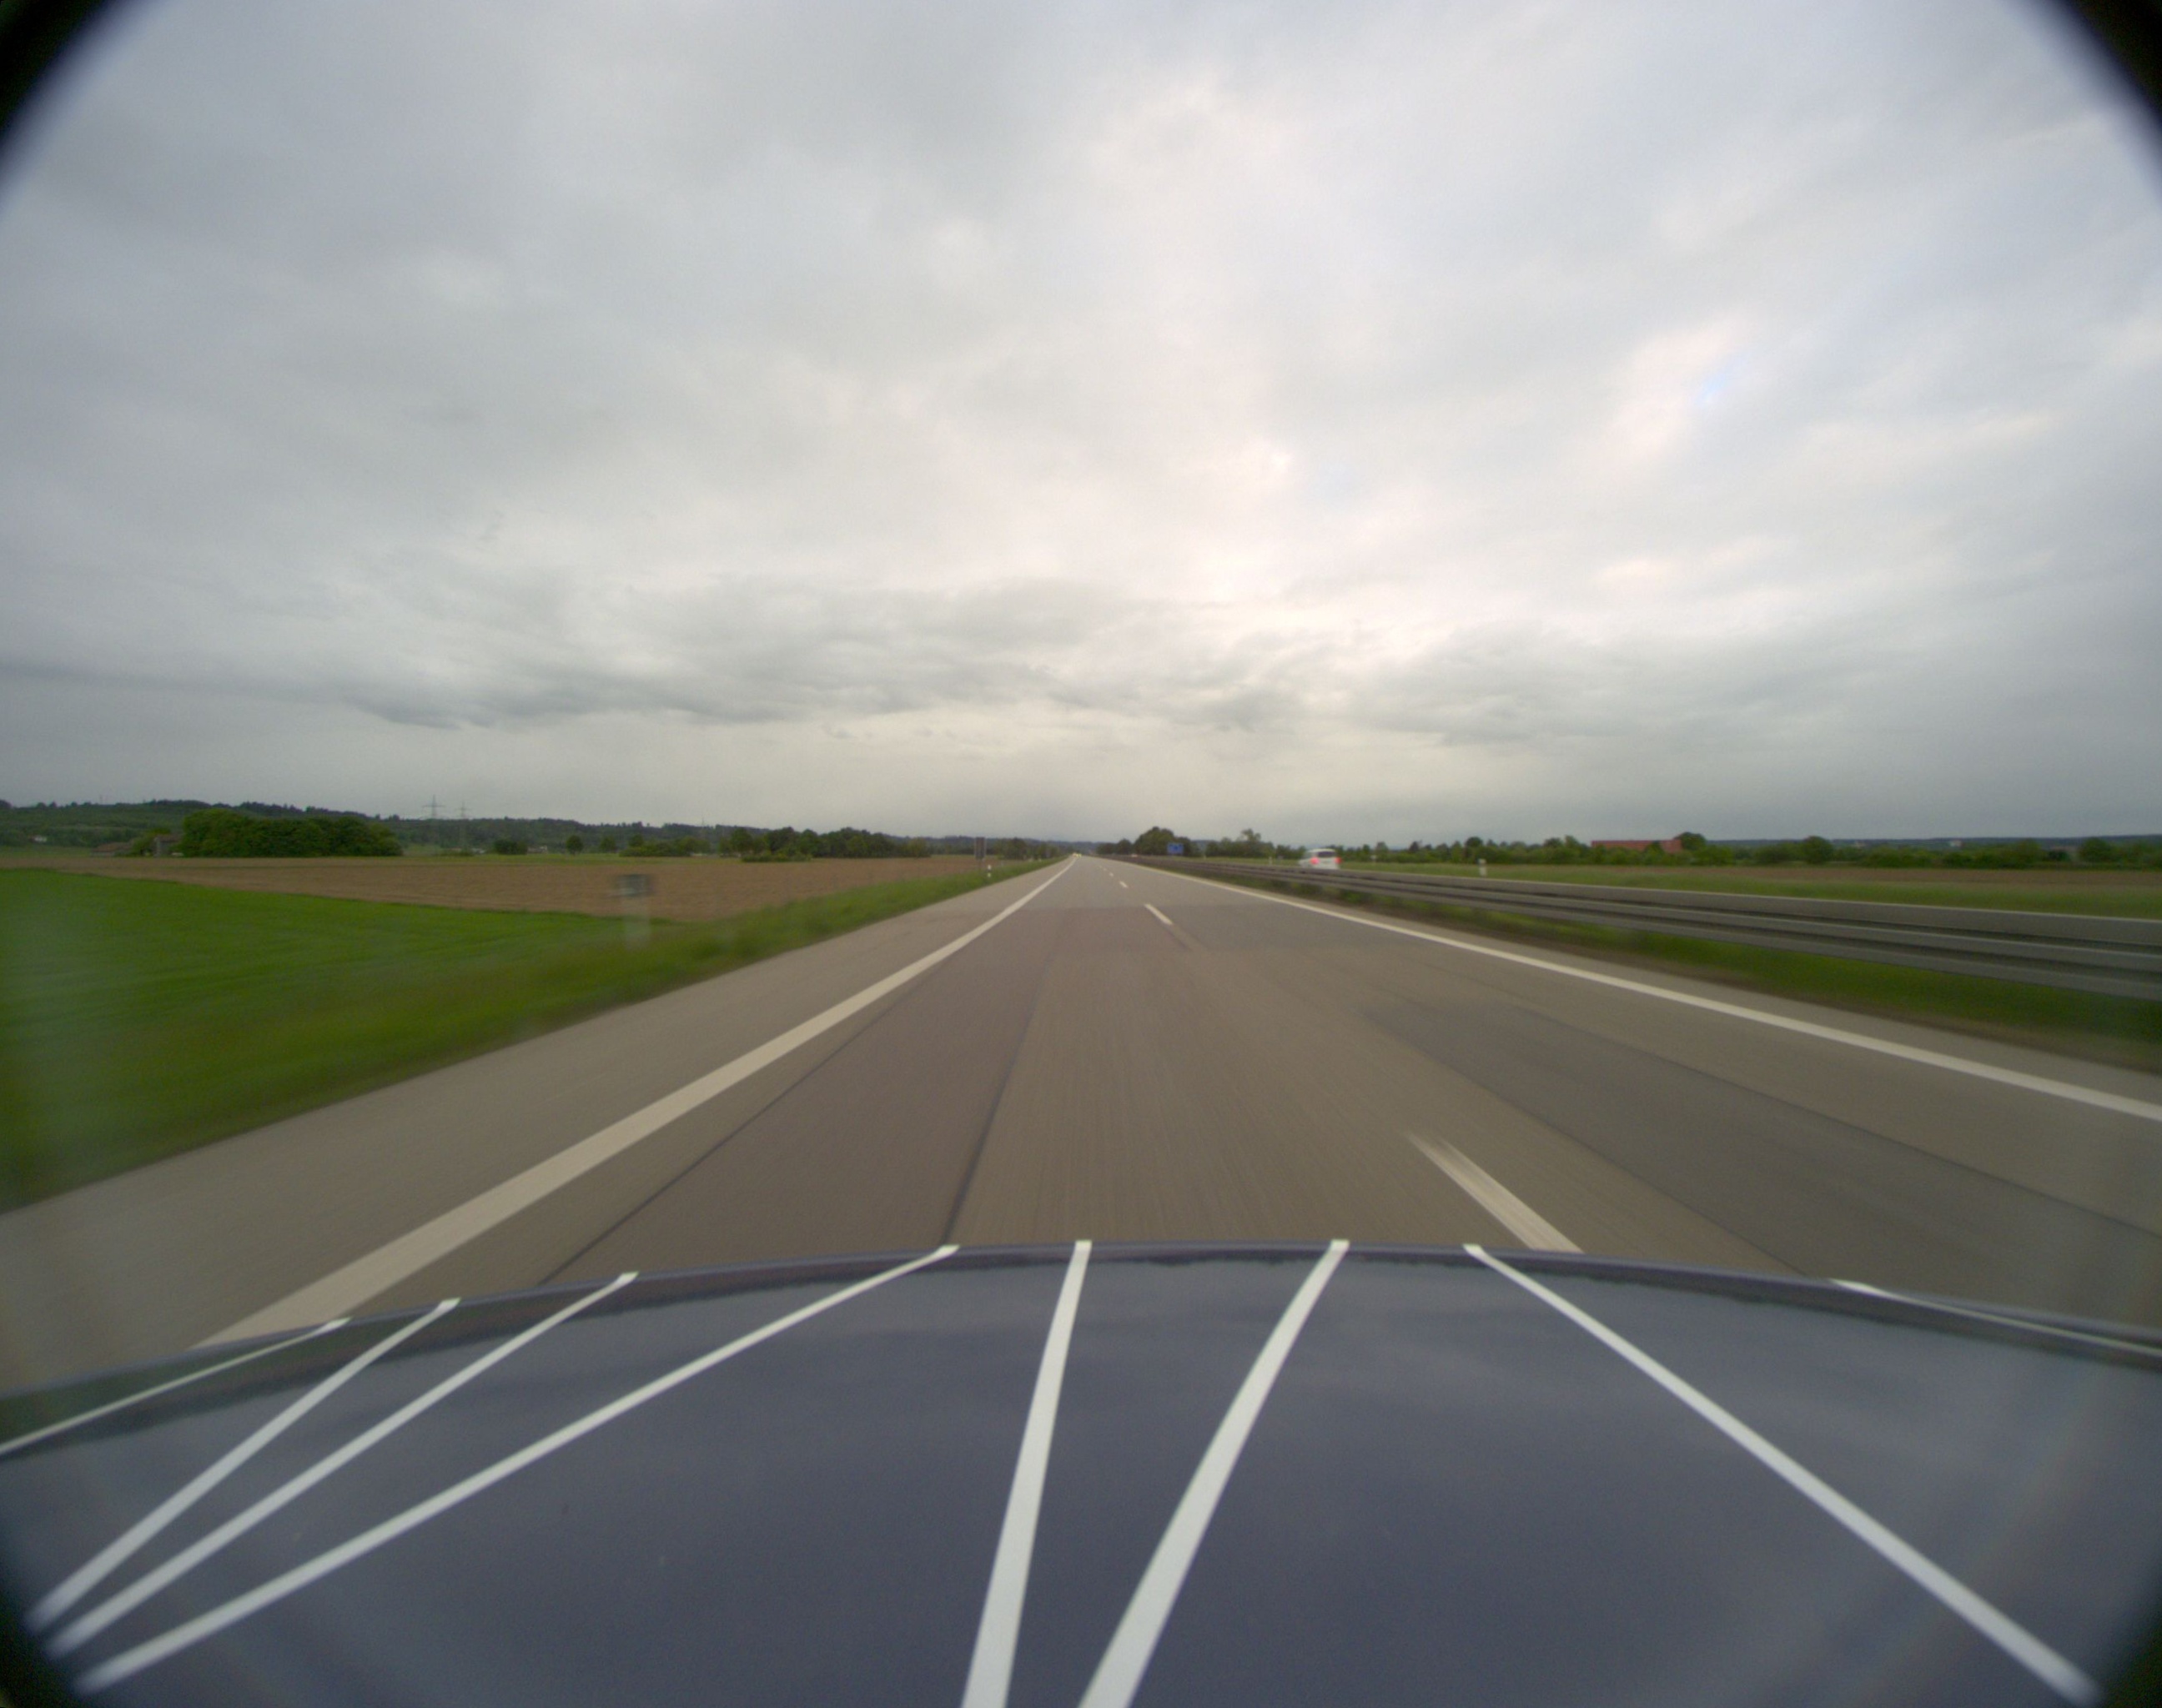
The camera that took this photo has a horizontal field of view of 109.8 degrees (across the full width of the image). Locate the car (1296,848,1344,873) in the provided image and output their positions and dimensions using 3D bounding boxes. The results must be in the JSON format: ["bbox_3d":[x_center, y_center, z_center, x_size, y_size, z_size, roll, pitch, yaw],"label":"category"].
[{"bbox_3d":[17.614,0.435,56.239,1.998,1.755,4.951,-2,1,0],"label":"car"}]

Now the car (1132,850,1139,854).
[{"bbox_3d":[18.500,-0.664,256.666,1.999,1.487,4.762,-1,0,-1],"label":"car"}]
